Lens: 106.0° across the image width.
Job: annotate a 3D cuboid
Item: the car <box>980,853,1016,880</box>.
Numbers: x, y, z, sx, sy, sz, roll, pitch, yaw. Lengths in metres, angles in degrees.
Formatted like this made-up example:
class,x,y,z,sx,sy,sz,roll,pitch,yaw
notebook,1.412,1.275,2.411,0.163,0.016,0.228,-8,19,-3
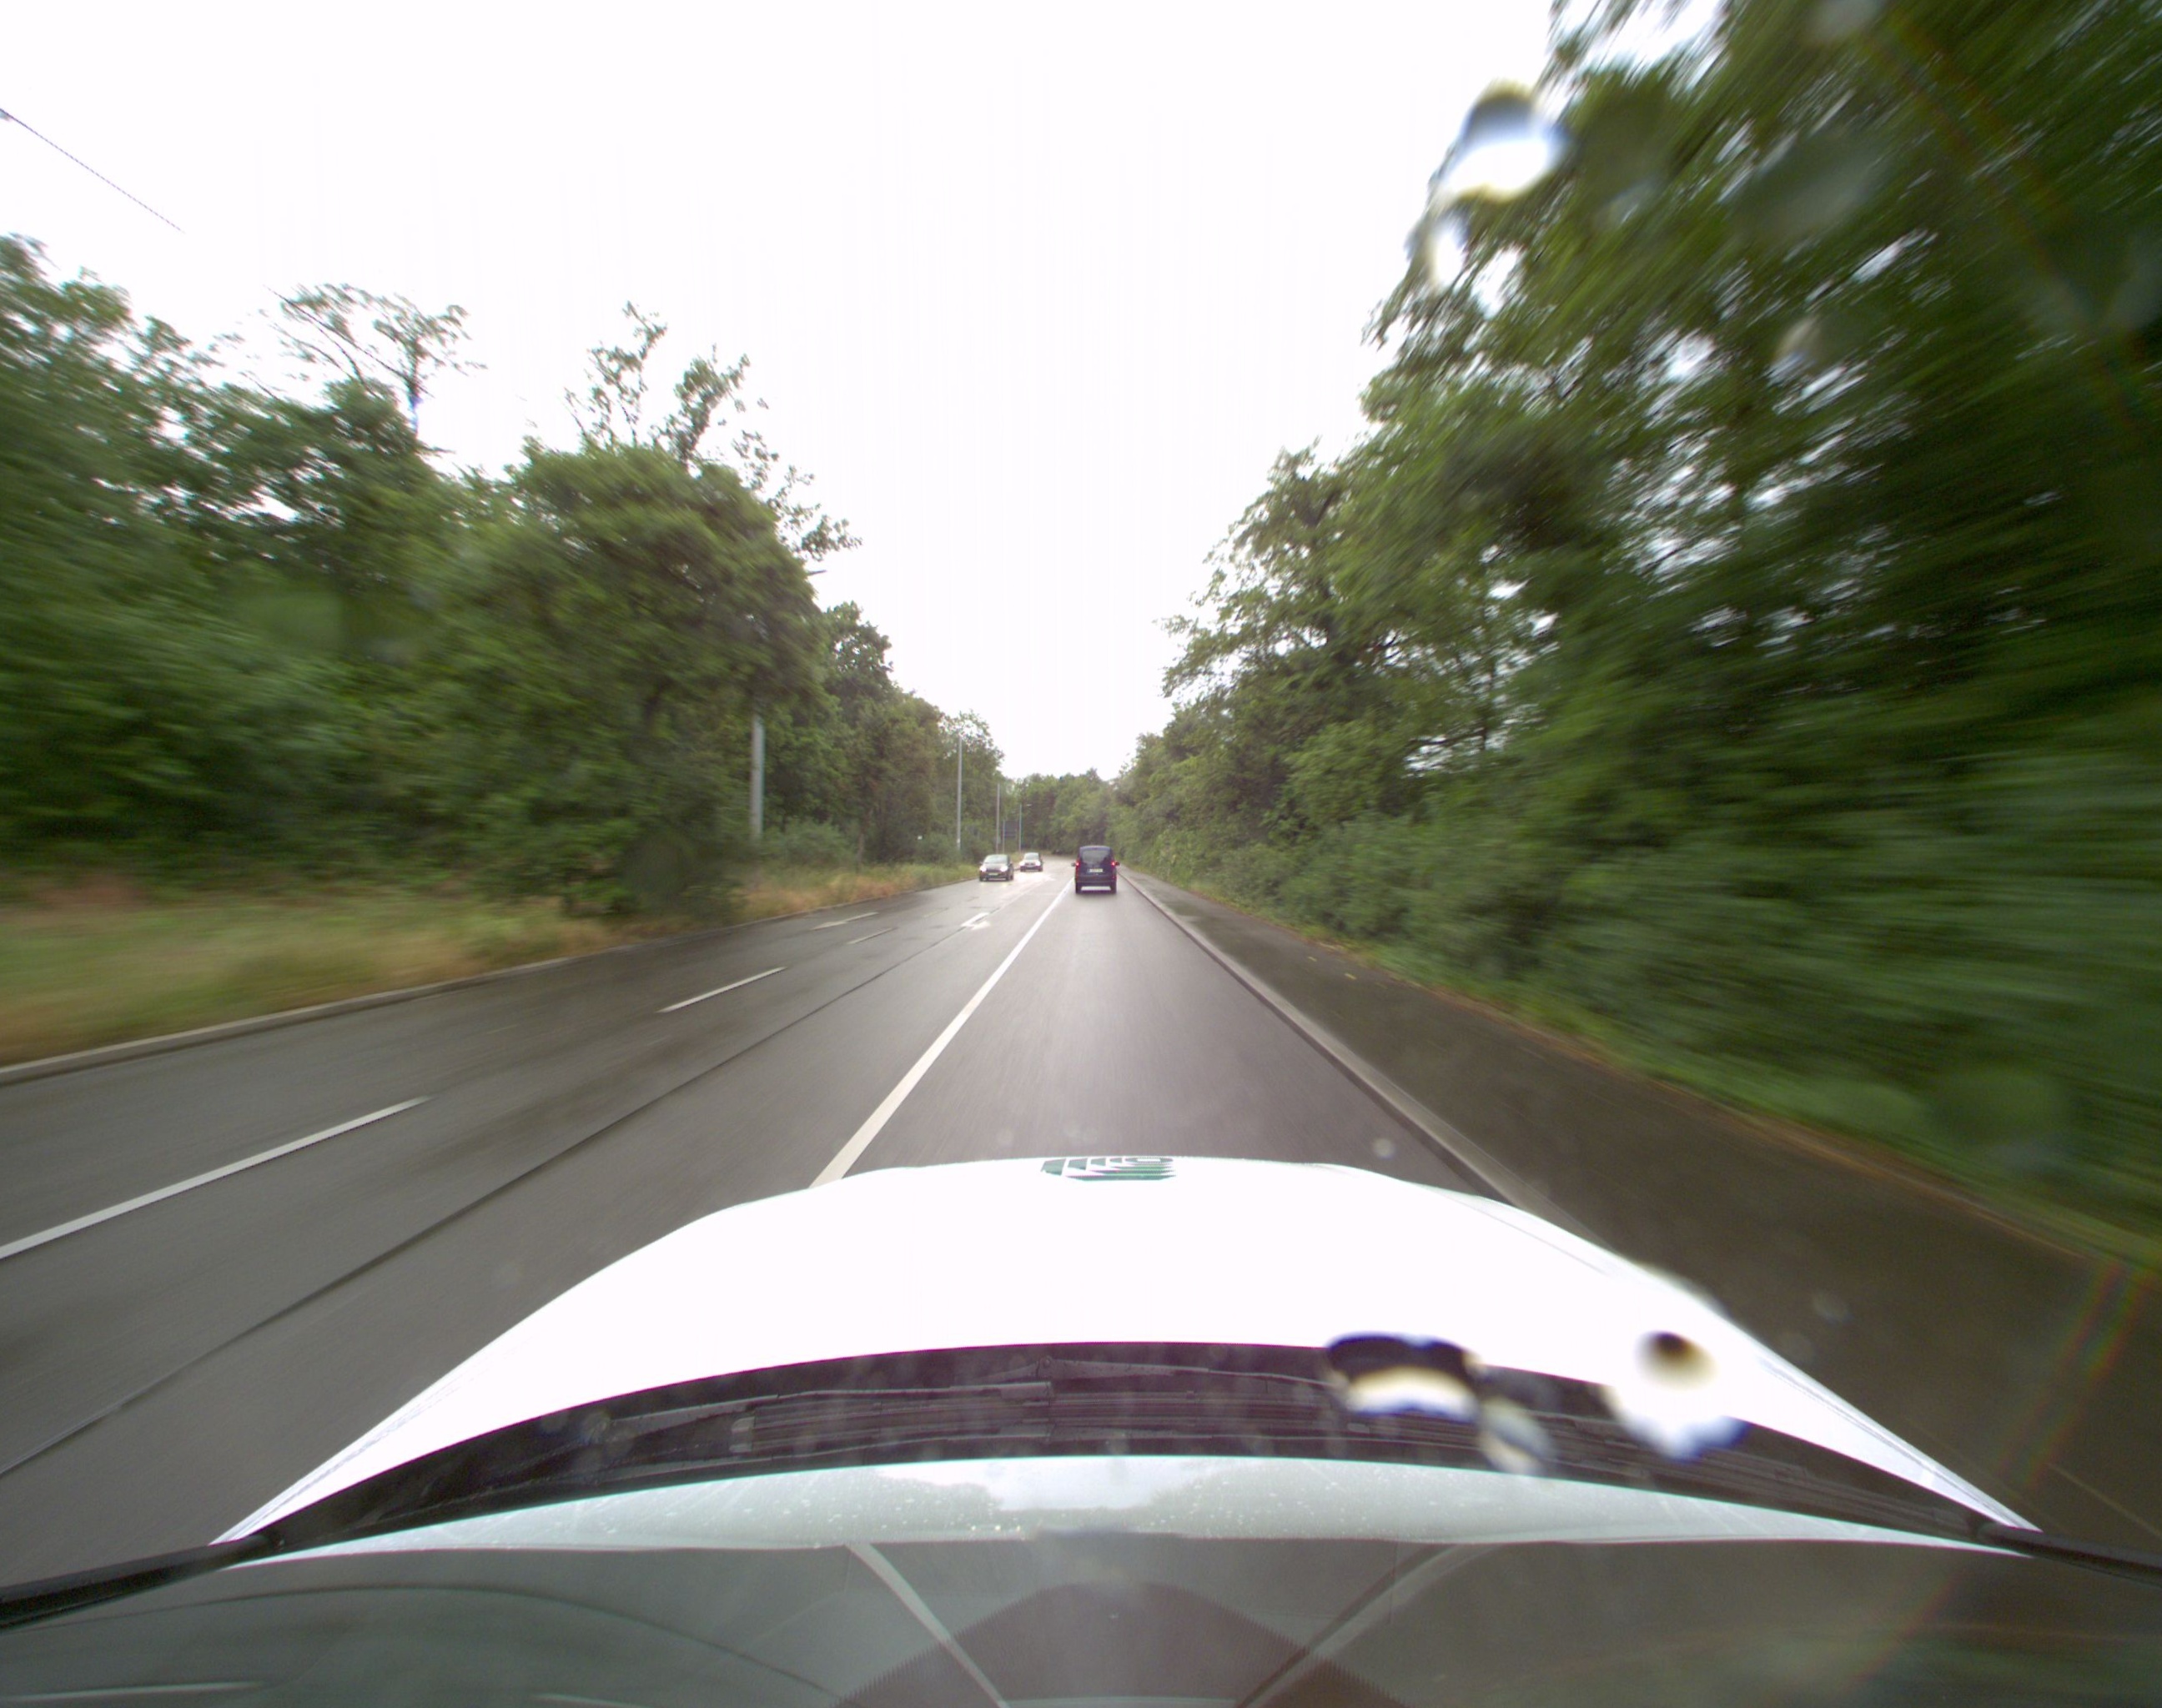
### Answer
class,x,y,z,sx,sy,sz,roll,pitch,yaw
car,-4.709,0.681,46.739,1.593,1.441,3.991,-1,0,0

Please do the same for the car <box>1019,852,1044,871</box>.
class,x,y,z,sx,sy,sz,roll,pitch,yaw
car,-4.238,0.618,70.302,1.765,1.610,4.084,1,0,1

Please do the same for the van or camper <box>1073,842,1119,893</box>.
class,x,y,z,sx,sy,sz,roll,pitch,yaw
van or camper,0.624,0.501,32.903,1.706,1.825,4.002,-1,2,1
